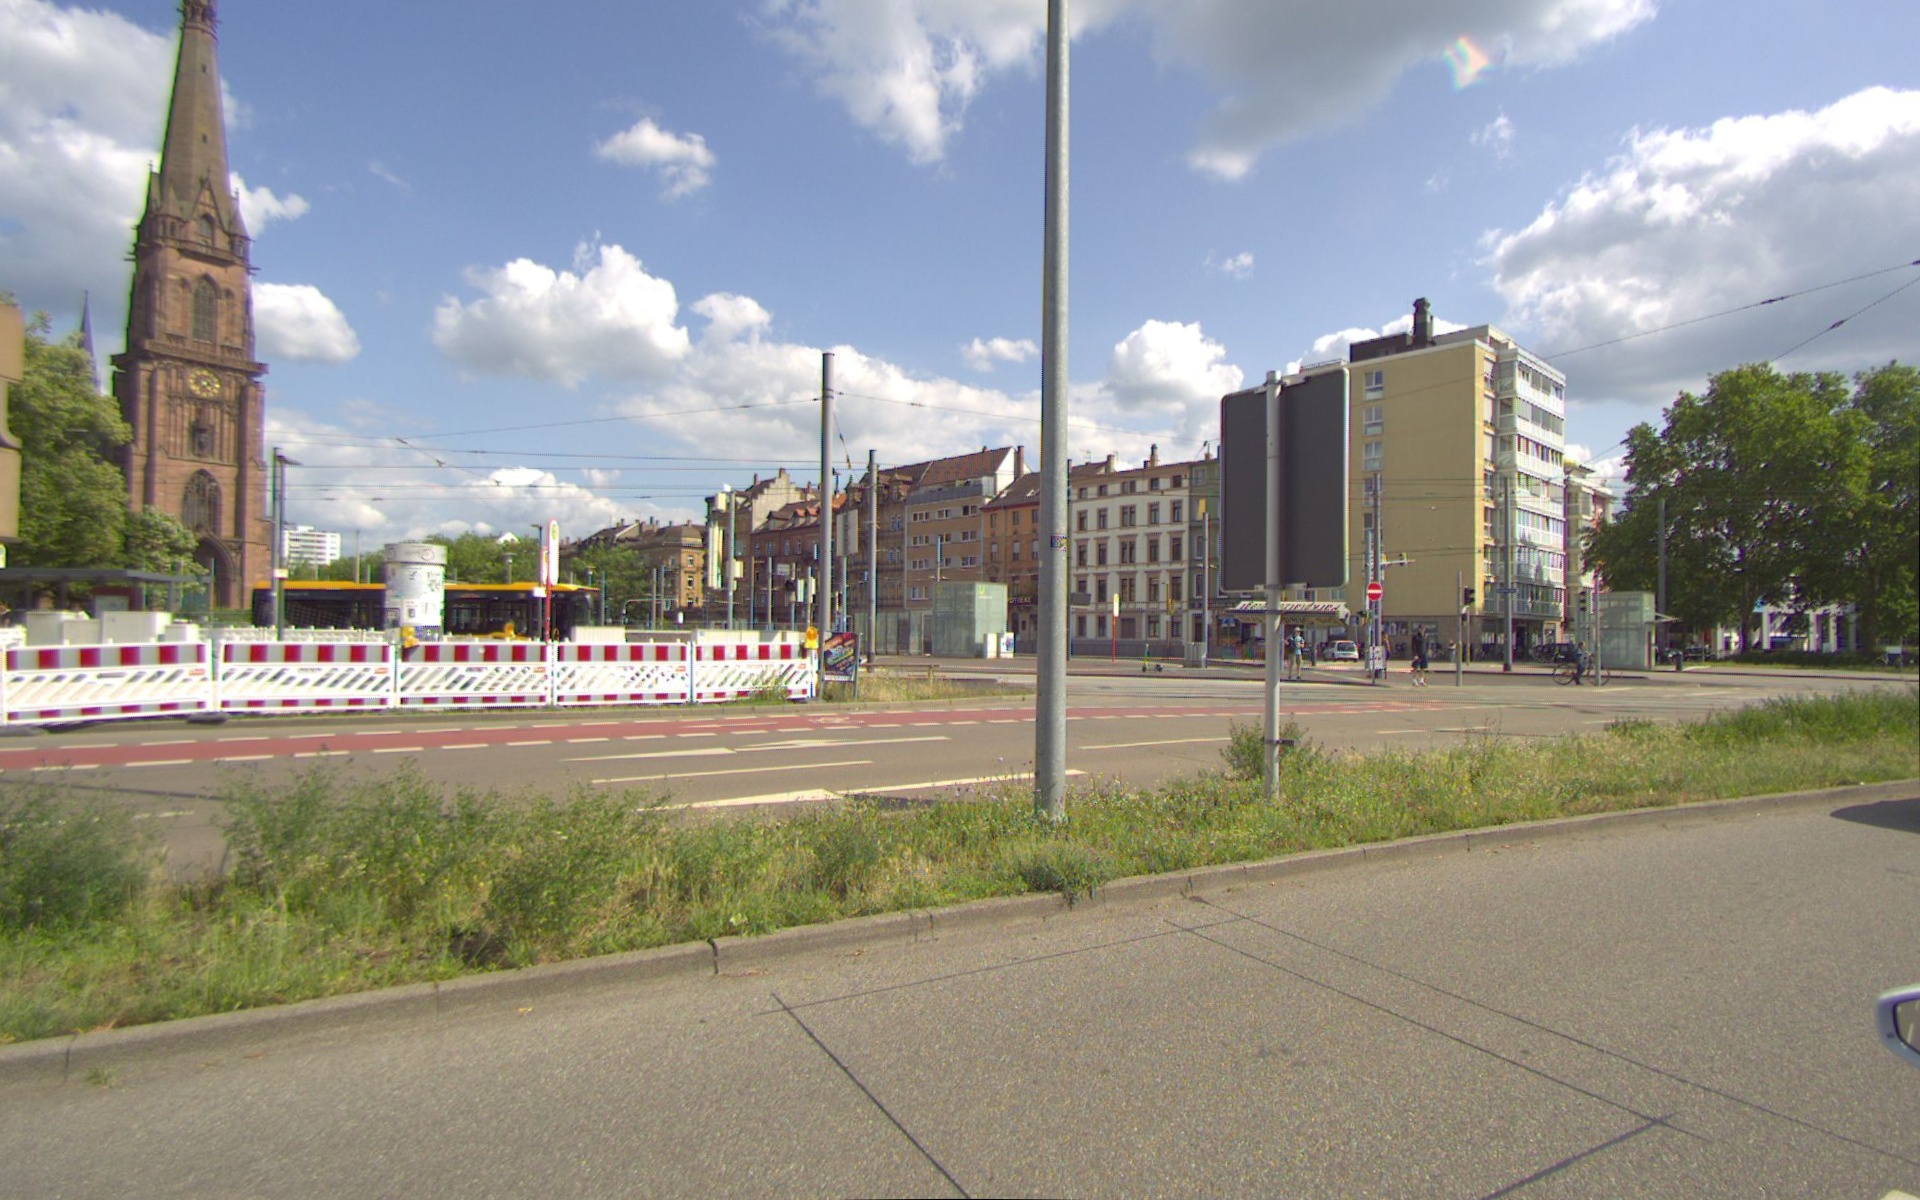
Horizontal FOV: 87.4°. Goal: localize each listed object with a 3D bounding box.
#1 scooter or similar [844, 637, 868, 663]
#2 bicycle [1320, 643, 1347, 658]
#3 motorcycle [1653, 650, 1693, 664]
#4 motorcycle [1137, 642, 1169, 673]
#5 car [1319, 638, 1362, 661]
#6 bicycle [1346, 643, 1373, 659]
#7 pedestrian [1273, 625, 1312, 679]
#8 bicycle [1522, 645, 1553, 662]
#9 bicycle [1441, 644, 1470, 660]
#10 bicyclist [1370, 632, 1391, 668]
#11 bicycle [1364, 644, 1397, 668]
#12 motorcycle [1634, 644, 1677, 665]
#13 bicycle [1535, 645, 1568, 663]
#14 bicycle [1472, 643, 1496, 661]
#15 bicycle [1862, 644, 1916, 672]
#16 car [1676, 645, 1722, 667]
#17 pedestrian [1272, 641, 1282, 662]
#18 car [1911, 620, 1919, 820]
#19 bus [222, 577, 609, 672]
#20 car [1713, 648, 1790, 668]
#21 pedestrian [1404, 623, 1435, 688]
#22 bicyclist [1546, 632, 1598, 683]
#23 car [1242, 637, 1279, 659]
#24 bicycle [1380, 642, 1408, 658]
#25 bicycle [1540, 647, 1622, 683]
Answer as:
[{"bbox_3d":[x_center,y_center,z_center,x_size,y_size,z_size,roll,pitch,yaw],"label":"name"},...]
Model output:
[{"bbox_3d":[-4.870,2.322,47.007,0.836,1.120,1.646,2,-1,4],"label":"scooter or similar"},{"bbox_3d":[29.381,3.966,78.996,1.783,1.118,0.793,0,-2,42],"label":"bicycle"},{"bbox_3d":[47.589,3.788,67.026,2.003,0.929,0.812,0,-2,7],"label":"motorcycle"},{"bbox_3d":[7.826,2.327,40.743,0.478,1.253,1.437,2,-3,-27],"label":"motorcycle"},{"bbox_3d":[26.840,3.520,71.014,1.861,1.516,3.903,2,-3,5],"label":"car"},{"bbox_3d":[30.921,3.937,77.668,1.783,1.118,0.793,0,-2,42],"label":"bicycle"},{"bbox_3d":[11.740,1.833,35.468,1.015,1.821,0.762,2,0,-27],"label":"pedestrian"},{"bbox_3d":[40.707,3.754,70.857,1.784,1.162,0.792,0,-2,43],"label":"bicycle"},{"bbox_3d":[35.763,3.758,72.485,1.783,1.118,0.793,0,-2,42],"label":"bicycle"},{"bbox_3d":[21.661,2.574,51.687,0.768,1.821,0.706,2,0,41],"label":"bicyclist"},{"bbox_3d":[21.634,2.878,51.640,0.877,1.153,2.345,2,-1,41],"label":"bicycle"},{"bbox_3d":[44.018,3.421,63.613,0.890,1.254,2.214,0,-2,-12],"label":"motorcycle"},{"bbox_3d":[41.945,3.822,71.278,1.922,1.162,0.792,0,-2,43],"label":"bicycle"},{"bbox_3d":[37.866,3.743,72.549,1.791,1.275,0.789,2,-2,-34],"label":"bicycle"},{"bbox_3d":[51.629,3.217,55.841,0.807,1.433,2.146,1,-1,-44],"label":"bicycle"},{"bbox_3d":[52.575,4.002,71.480,3.971,1.431,1.888,4,-4,-42],"label":"car"},{"bbox_3d":[24.197,3.911,76.599,0.685,1.554,0.556,0,-3,13],"label":"pedestrian"},{"bbox_3d":[10.052,0.995,8.217,4.555,1.589,1.874,2,-2,-27],"label":"car"},{"bbox_3d":[-19.650,0.915,36.751,12.586,3.177,2.835,1,-2,1],"label":"bus"},{"bbox_3d":[56.183,4.098,71.366,1.615,1.344,3.967,3,-4,-31],"label":"car"},{"bbox_3d":[14.186,1.704,31.010,0.753,1.928,0.825,2,0,29],"label":"pedestrian"},{"bbox_3d":[21.695,2.031,35.619,0.984,1.753,1.290,2,-3,-32],"label":"bicyclist"},{"bbox_3d":[22.297,3.553,74.637,1.861,1.516,3.903,2,-3,4],"label":"car"},{"bbox_3d":[32.787,3.772,75.807,1.783,1.118,0.793,0,-2,42],"label":"bicycle"},{"bbox_3d":[21.840,2.283,35.362,0.984,1.204,2.281,2,-3,-32],"label":"bicycle"}]
